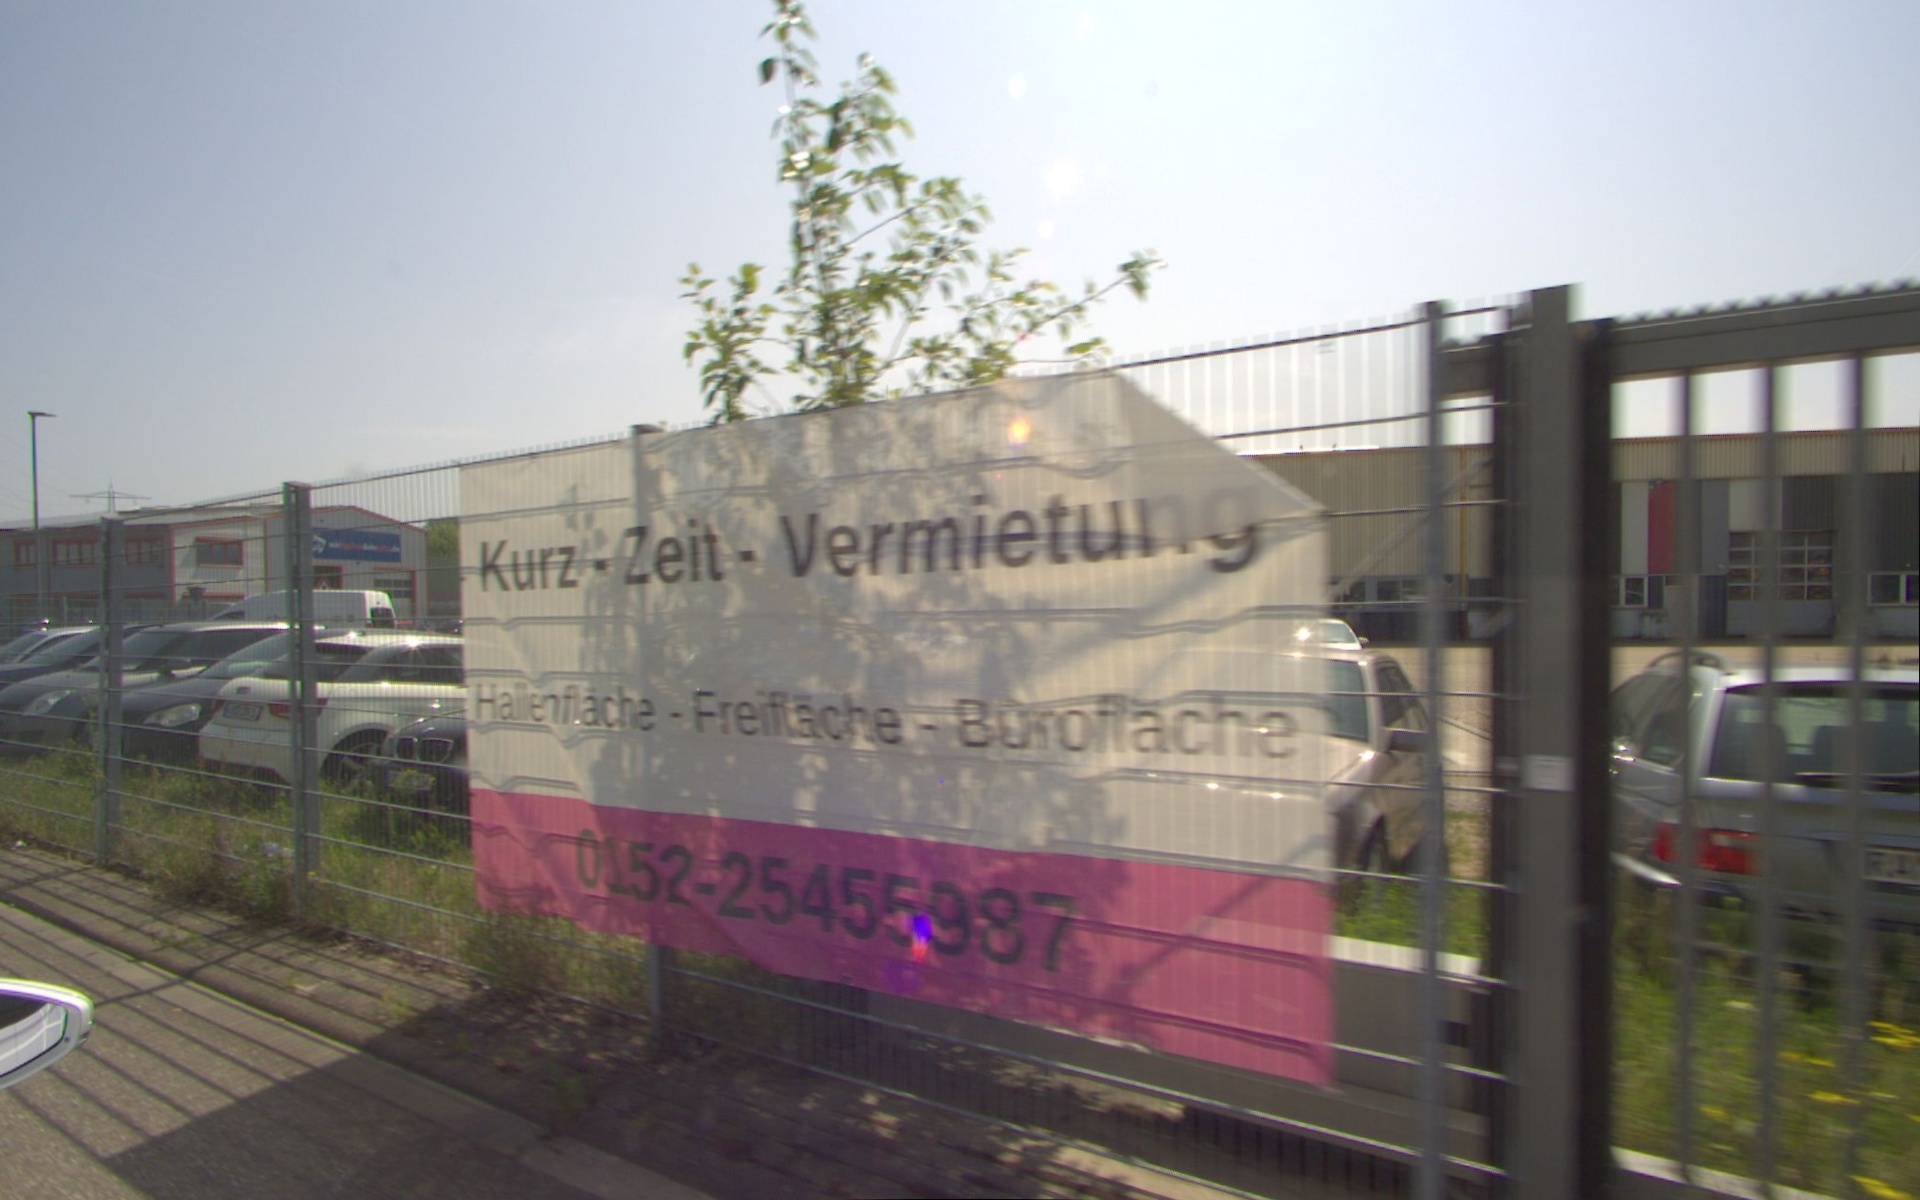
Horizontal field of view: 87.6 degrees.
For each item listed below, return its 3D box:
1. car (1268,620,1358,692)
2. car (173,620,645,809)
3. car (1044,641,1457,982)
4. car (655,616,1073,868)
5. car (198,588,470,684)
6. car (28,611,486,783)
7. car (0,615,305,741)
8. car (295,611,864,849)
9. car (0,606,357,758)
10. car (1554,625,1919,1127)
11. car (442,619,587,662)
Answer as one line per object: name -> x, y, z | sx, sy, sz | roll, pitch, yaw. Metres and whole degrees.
car -> 7.907, 1.197, 22.684 | 1.507, 1.454, 3.664 | 0, -1, 13
car -> -4.898, 1.012, 9.409 | 1.612, 1.405, 3.524 | 0, -5, 29
car -> 2.084, 1.002, 6.364 | 1.714, 1.371, 3.658 | -1, -1, 30
car -> -0.470, 0.807, 7.281 | 1.504, 1.371, 3.266 | 0, -1, 27
car -> -14.978, 0.836, 24.260 | 5.242, 2.177, 1.906 | 0, 0, -9
car -> -7.240, 0.910, 10.736 | 1.724, 1.496, 3.650 | -2, -2, 24
car -> -11.675, 0.967, 13.424 | 1.799, 1.493, 4.527 | -1, -1, 33
car -> -2.651, 0.784, 8.035 | 1.697, 1.371, 4.179 | -1, -1, 29
car -> -9.486, 0.846, 11.985 | 1.685, 1.521, 3.535 | 0, 0, 29
car -> 3.915, 0.933, 4.795 | 1.612, 1.492, 4.164 | 0, -3, 28
car -> -14.214, 1.274, 32.162 | 3.854, 1.294, 1.906 | 0, 0, -9
